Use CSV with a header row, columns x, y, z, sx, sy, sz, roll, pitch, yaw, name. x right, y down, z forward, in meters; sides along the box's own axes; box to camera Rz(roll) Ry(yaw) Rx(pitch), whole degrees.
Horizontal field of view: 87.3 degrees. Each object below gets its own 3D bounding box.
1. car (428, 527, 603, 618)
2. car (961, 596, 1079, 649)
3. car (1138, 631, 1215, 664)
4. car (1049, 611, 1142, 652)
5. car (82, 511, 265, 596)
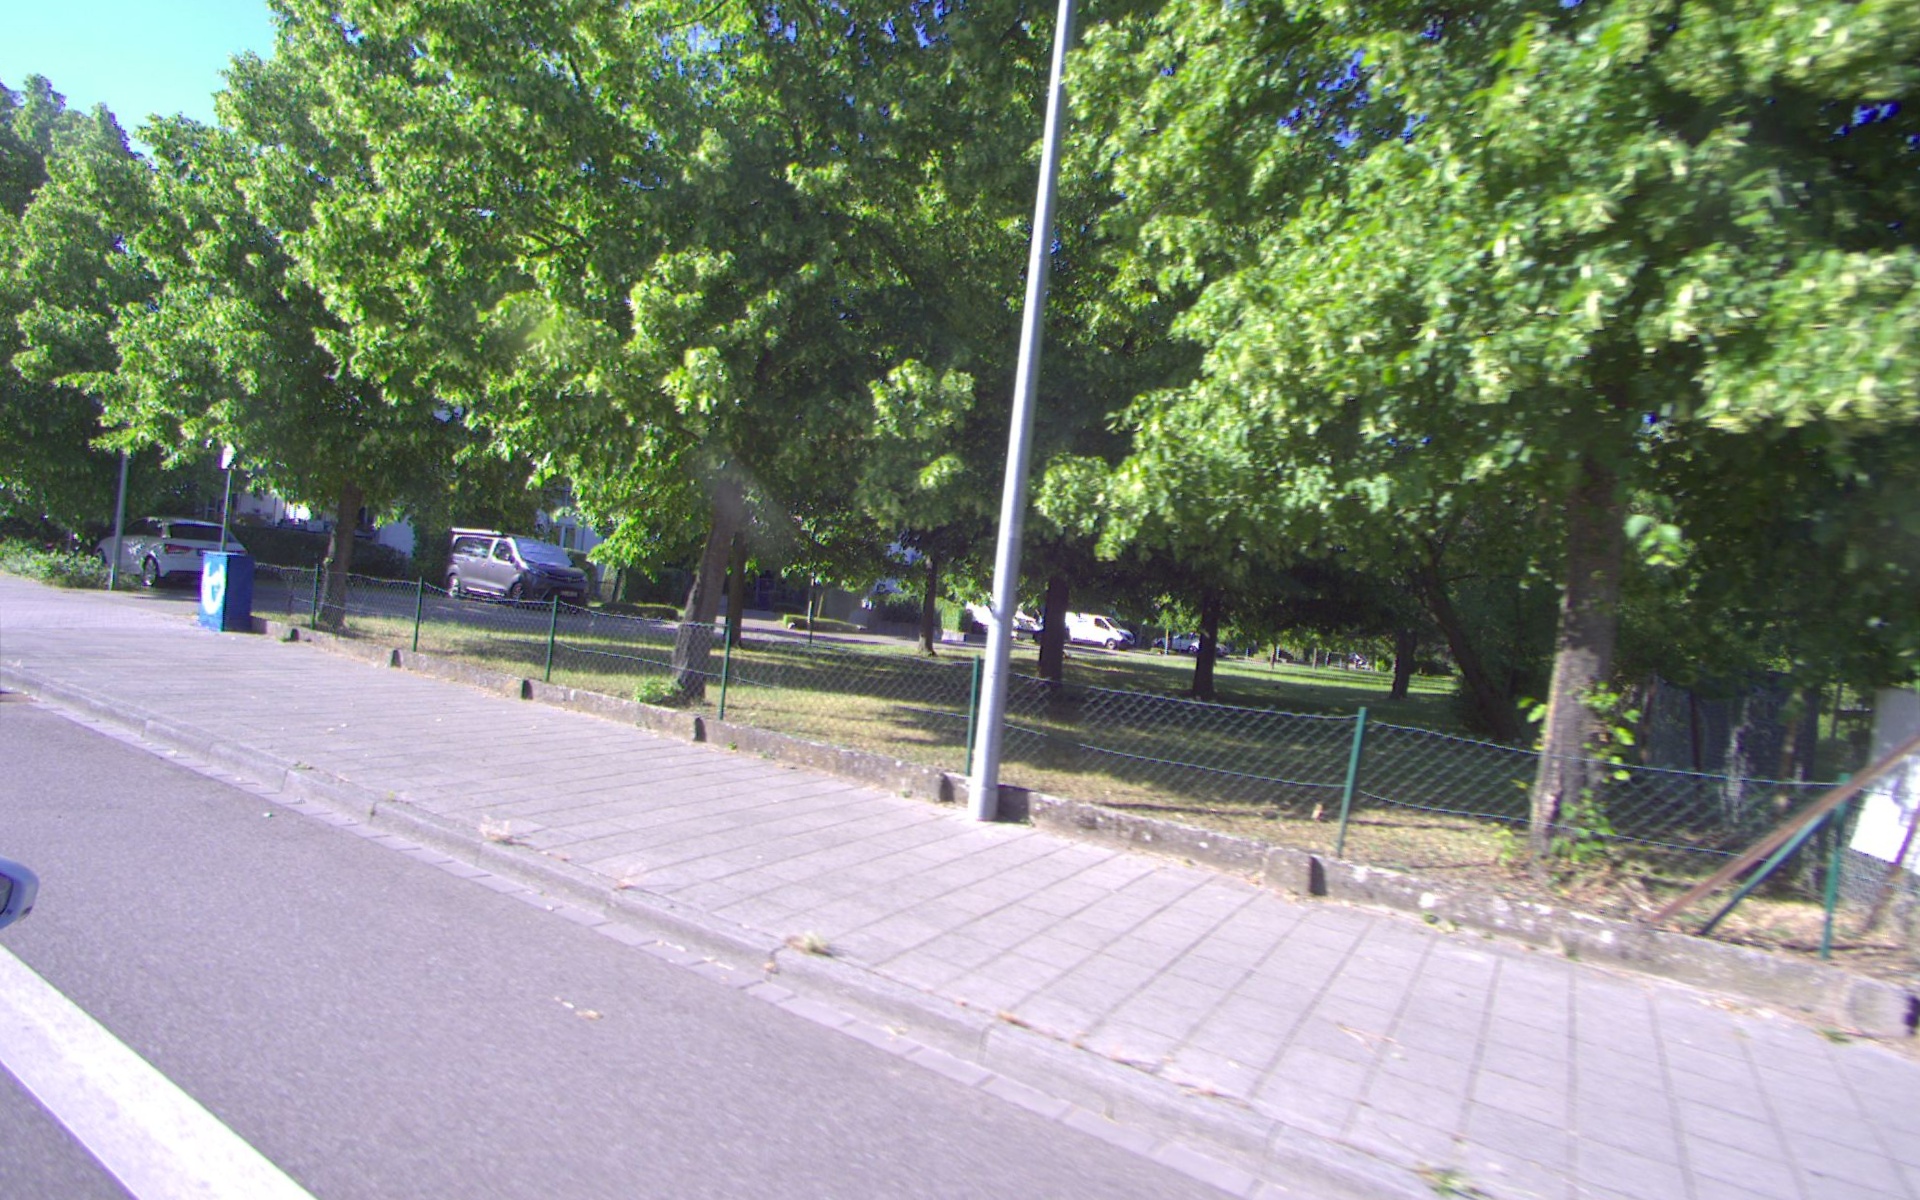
x,y,z,sx,sy,sz,roll,pitch,yaw,name
-12.426,-0.784,27.983,5.084,1.990,1.873,6,-1,34,car
3.087,1.150,52.695,5.777,2.064,2.019,6,-1,34,car
15.713,3.443,73.106,4.999,1.750,1.873,6,-1,34,car
8.252,1.894,61.633,5.191,1.890,1.873,6,-1,34,car
-16.820,-1.003,21.488,3.805,1.404,1.775,6,1,30,car
